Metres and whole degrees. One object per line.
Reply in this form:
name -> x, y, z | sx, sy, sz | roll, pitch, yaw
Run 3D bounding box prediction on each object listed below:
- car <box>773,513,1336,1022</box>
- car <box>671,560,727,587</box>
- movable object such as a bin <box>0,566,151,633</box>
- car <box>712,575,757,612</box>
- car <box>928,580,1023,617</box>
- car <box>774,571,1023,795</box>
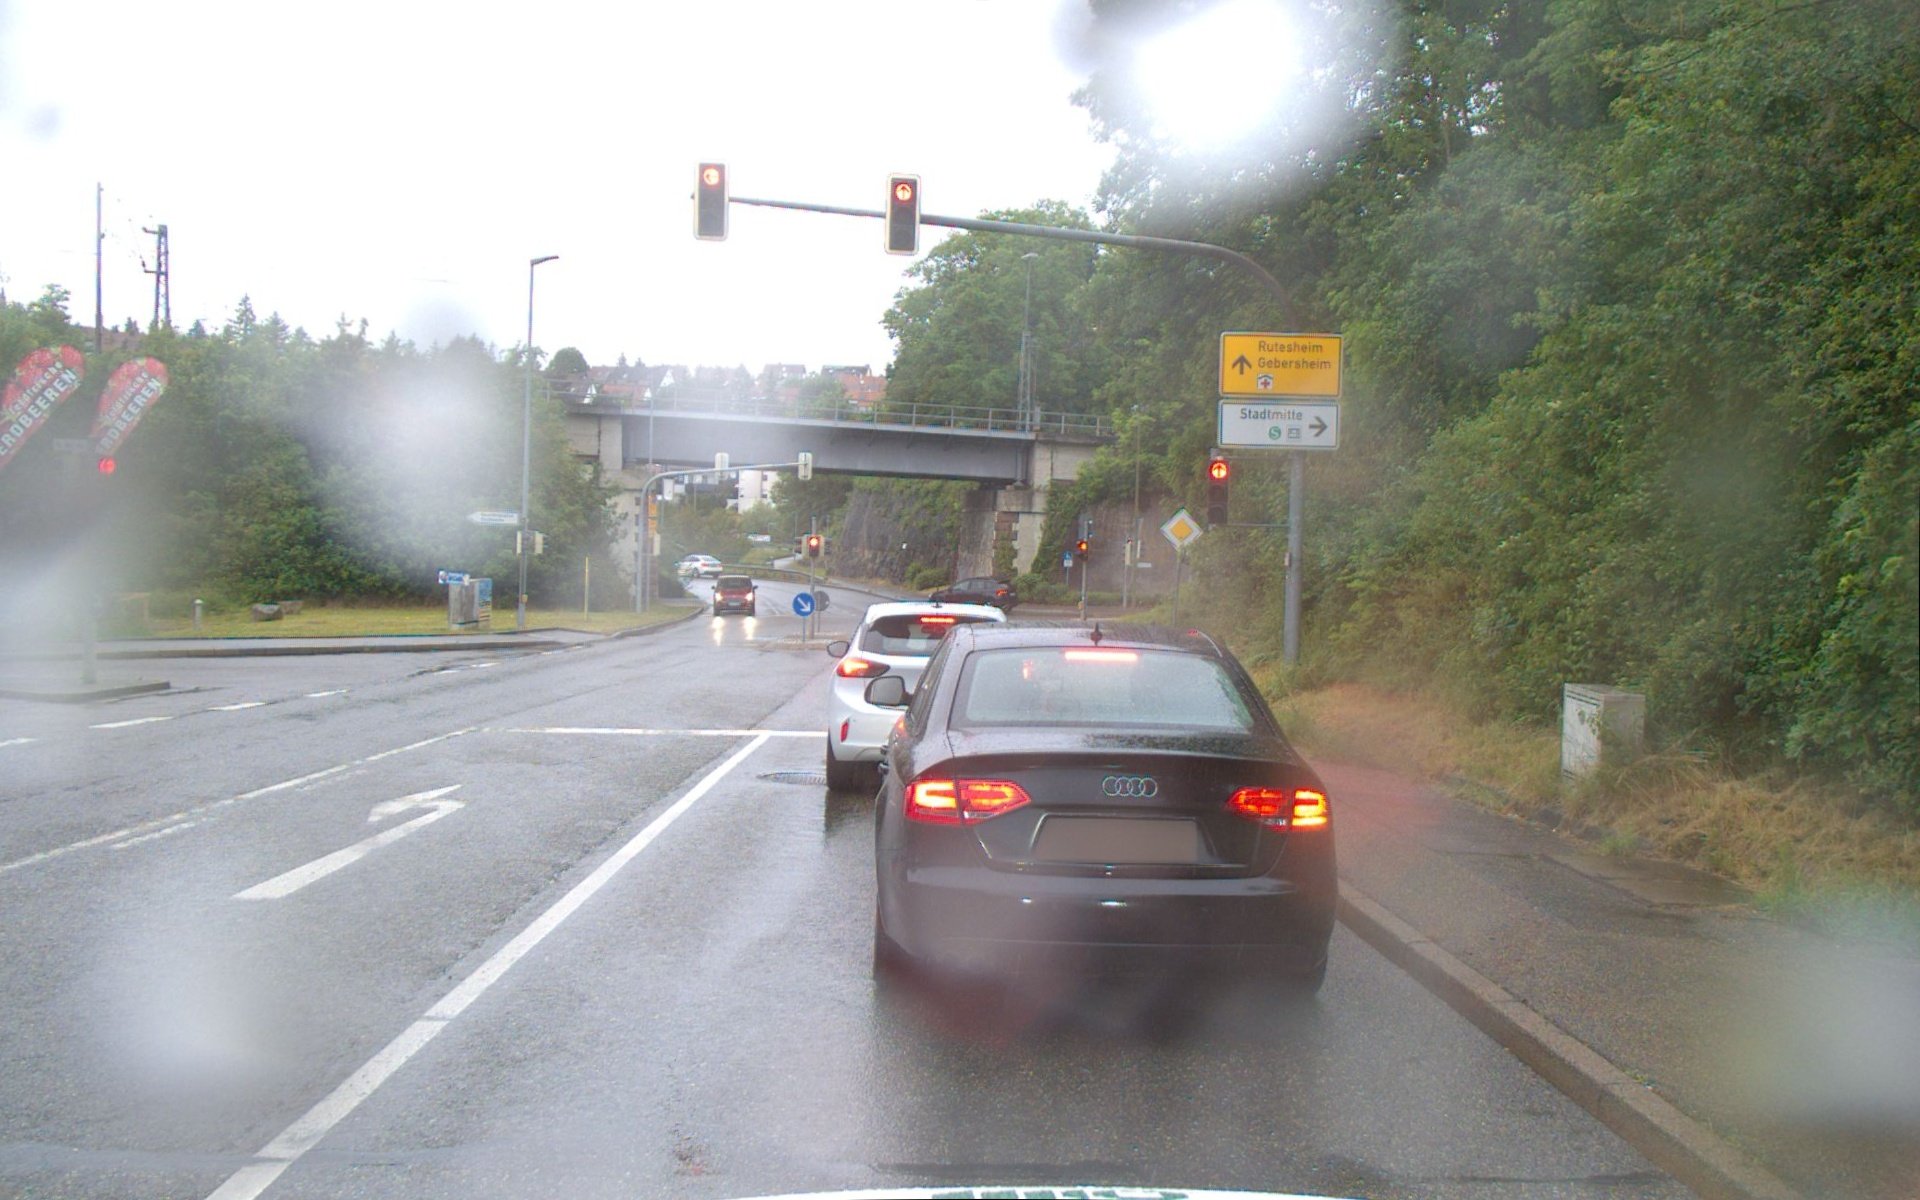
car -> 0.282, 0.580, 7.409 | 1.832, 1.645, 3.999 | 1, -1, -1
car -> -18.464, -1.885, 117.030 | 1.796, 1.773, 4.410 | 2, -1, -43
movable object such as a bin -> -24.112, 0.003, 42.115 | 2.699, 1.656, 5.752 | 0, -1, 39
car -> -10.169, -0.297, 74.730 | 1.956, 1.657, 3.993 | 0, 0, -8
car -> 0.690, -0.081, 74.710 | 3.922, 1.624, 1.991 | 0, 1, 38
car -> -0.476, 0.636, 14.019 | 1.786, 1.613, 3.999 | 1, -1, -1
